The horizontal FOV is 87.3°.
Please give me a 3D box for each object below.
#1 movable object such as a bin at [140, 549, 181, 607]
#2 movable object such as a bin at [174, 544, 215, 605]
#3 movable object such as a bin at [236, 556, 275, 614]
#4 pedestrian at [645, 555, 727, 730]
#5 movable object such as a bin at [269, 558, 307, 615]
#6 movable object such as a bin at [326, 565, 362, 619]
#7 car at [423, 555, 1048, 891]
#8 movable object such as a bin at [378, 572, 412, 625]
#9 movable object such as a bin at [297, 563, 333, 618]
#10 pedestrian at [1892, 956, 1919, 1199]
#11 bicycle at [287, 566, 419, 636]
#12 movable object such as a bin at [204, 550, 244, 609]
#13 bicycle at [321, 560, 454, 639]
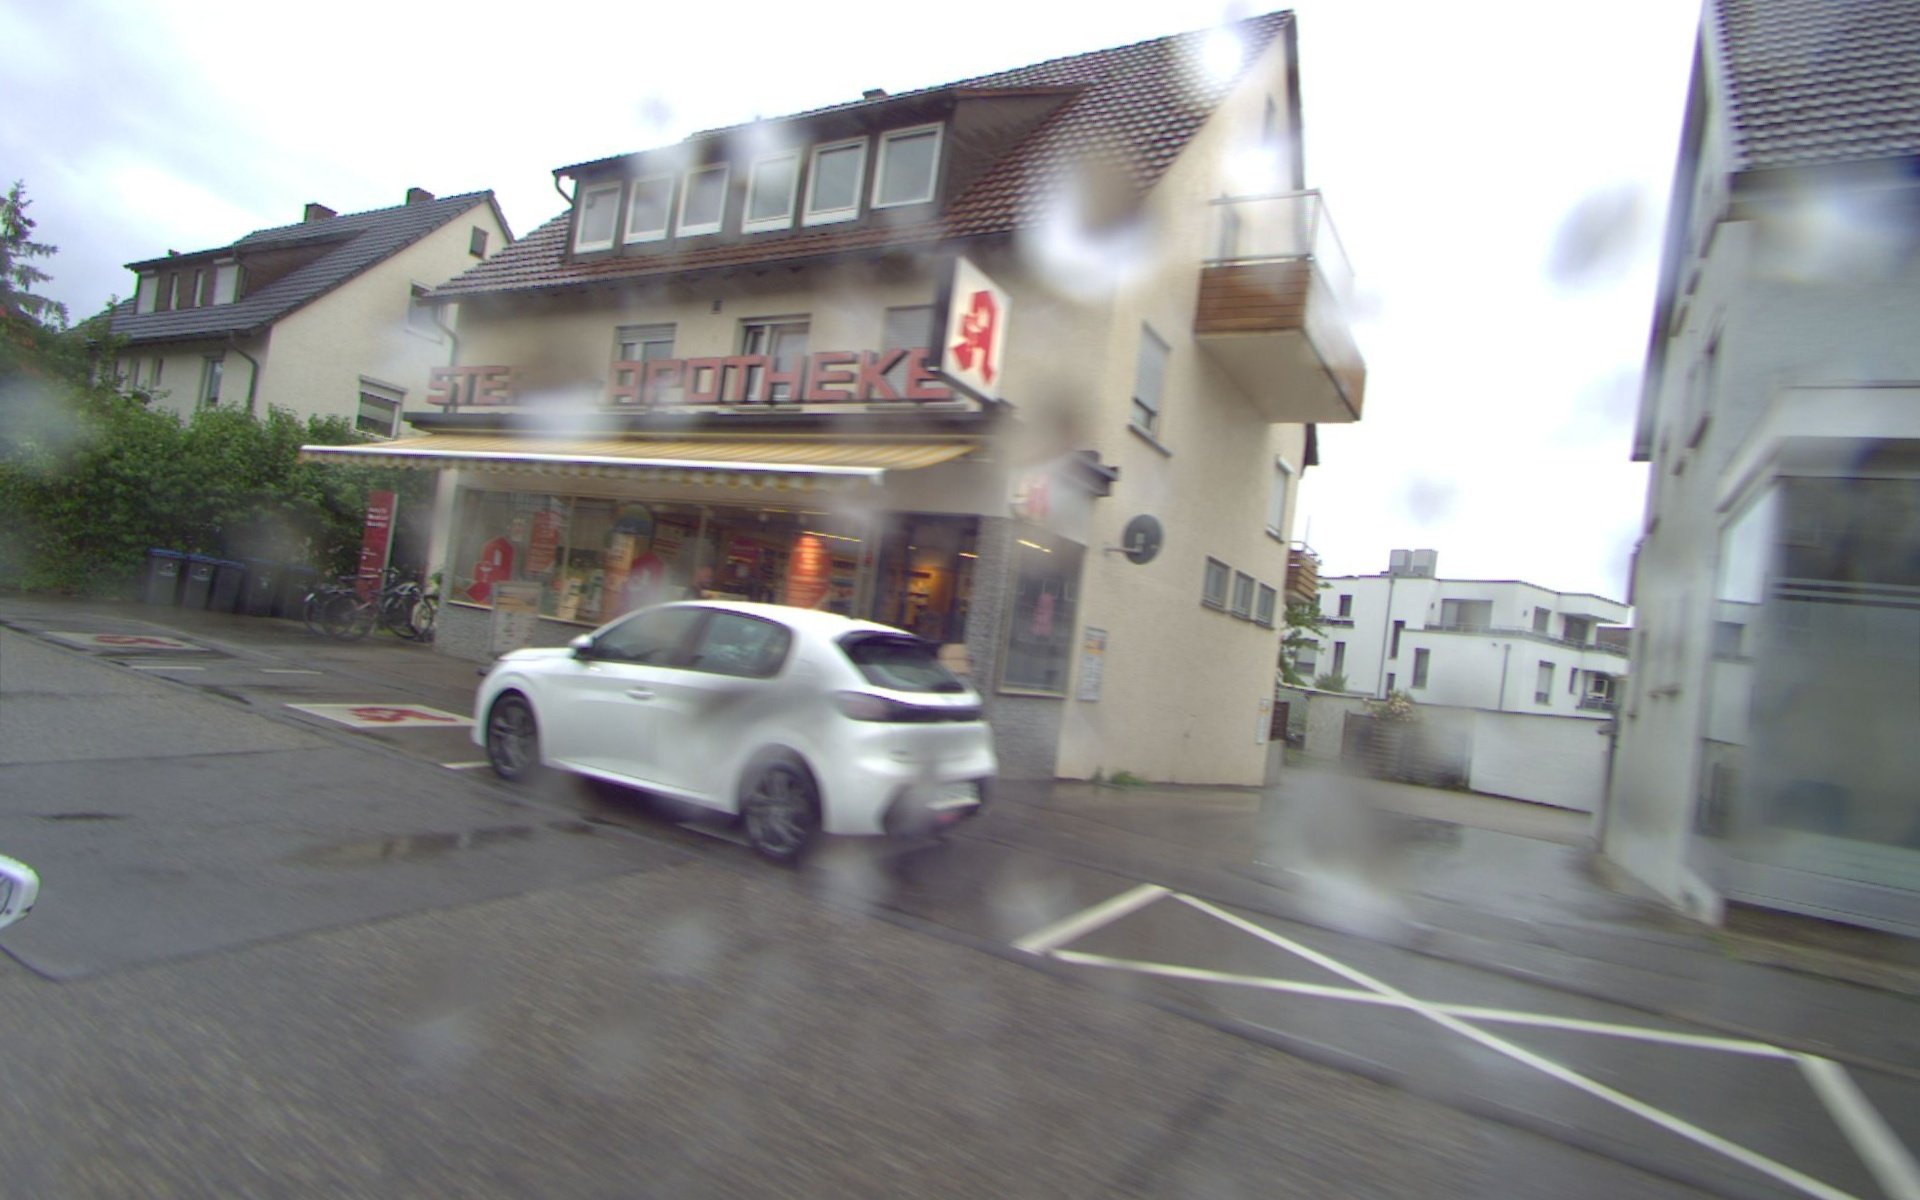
[{"bbox_3d":[-13.573,-0.371,17.081,0.322,0.927,0.367,7,0,29],"label":"movable object such as a bin"},{"bbox_3d":[-13.331,-0.442,17.523,0.349,0.999,0.367,7,0,29],"label":"movable object such as a bin"},{"bbox_3d":[-12.867,-0.273,18.364,0.349,0.999,0.367,7,0,29],"label":"movable object such as a bin"},{"bbox_3d":[-2.813,0.436,10.372,0.508,1.698,0.551,7,-1,-5],"label":"pedestrian"},{"bbox_3d":[-12.599,-0.252,18.860,0.349,0.999,0.367,7,0,30],"label":"movable object such as a bin"},{"bbox_3d":[-12.083,-0.152,19.738,0.349,0.999,0.367,7,0,30],"label":"movable object such as a bin"},{"bbox_3d":[-1.694,0.657,7.097,4.134,1.466,1.817,6,0,33],"label":"car"},{"bbox_3d":[-11.404,-0.029,20.288,0.349,0.999,0.367,7,0,30],"label":"movable object such as a bin"},{"bbox_3d":[-12.361,-0.179,19.286,0.349,0.999,0.367,7,0,30],"label":"movable object such as a bin"},{"bbox_3d":[3.495,1.029,3.043,0.615,1.913,0.644,8,-1,-22],"label":"pedestrian"},{"bbox_3d":[-9.318,0.029,15.466,1.637,0.946,0.616,4,2,-39],"label":"bicycle"},{"bbox_3d":[-13.115,-0.361,17.930,0.349,0.999,0.367,7,0,29],"label":"movable object such as a bin"},{"bbox_3d":[-8.636,0.005,15.202,1.637,1.061,0.616,4,2,-39],"label":"bicycle"}]
